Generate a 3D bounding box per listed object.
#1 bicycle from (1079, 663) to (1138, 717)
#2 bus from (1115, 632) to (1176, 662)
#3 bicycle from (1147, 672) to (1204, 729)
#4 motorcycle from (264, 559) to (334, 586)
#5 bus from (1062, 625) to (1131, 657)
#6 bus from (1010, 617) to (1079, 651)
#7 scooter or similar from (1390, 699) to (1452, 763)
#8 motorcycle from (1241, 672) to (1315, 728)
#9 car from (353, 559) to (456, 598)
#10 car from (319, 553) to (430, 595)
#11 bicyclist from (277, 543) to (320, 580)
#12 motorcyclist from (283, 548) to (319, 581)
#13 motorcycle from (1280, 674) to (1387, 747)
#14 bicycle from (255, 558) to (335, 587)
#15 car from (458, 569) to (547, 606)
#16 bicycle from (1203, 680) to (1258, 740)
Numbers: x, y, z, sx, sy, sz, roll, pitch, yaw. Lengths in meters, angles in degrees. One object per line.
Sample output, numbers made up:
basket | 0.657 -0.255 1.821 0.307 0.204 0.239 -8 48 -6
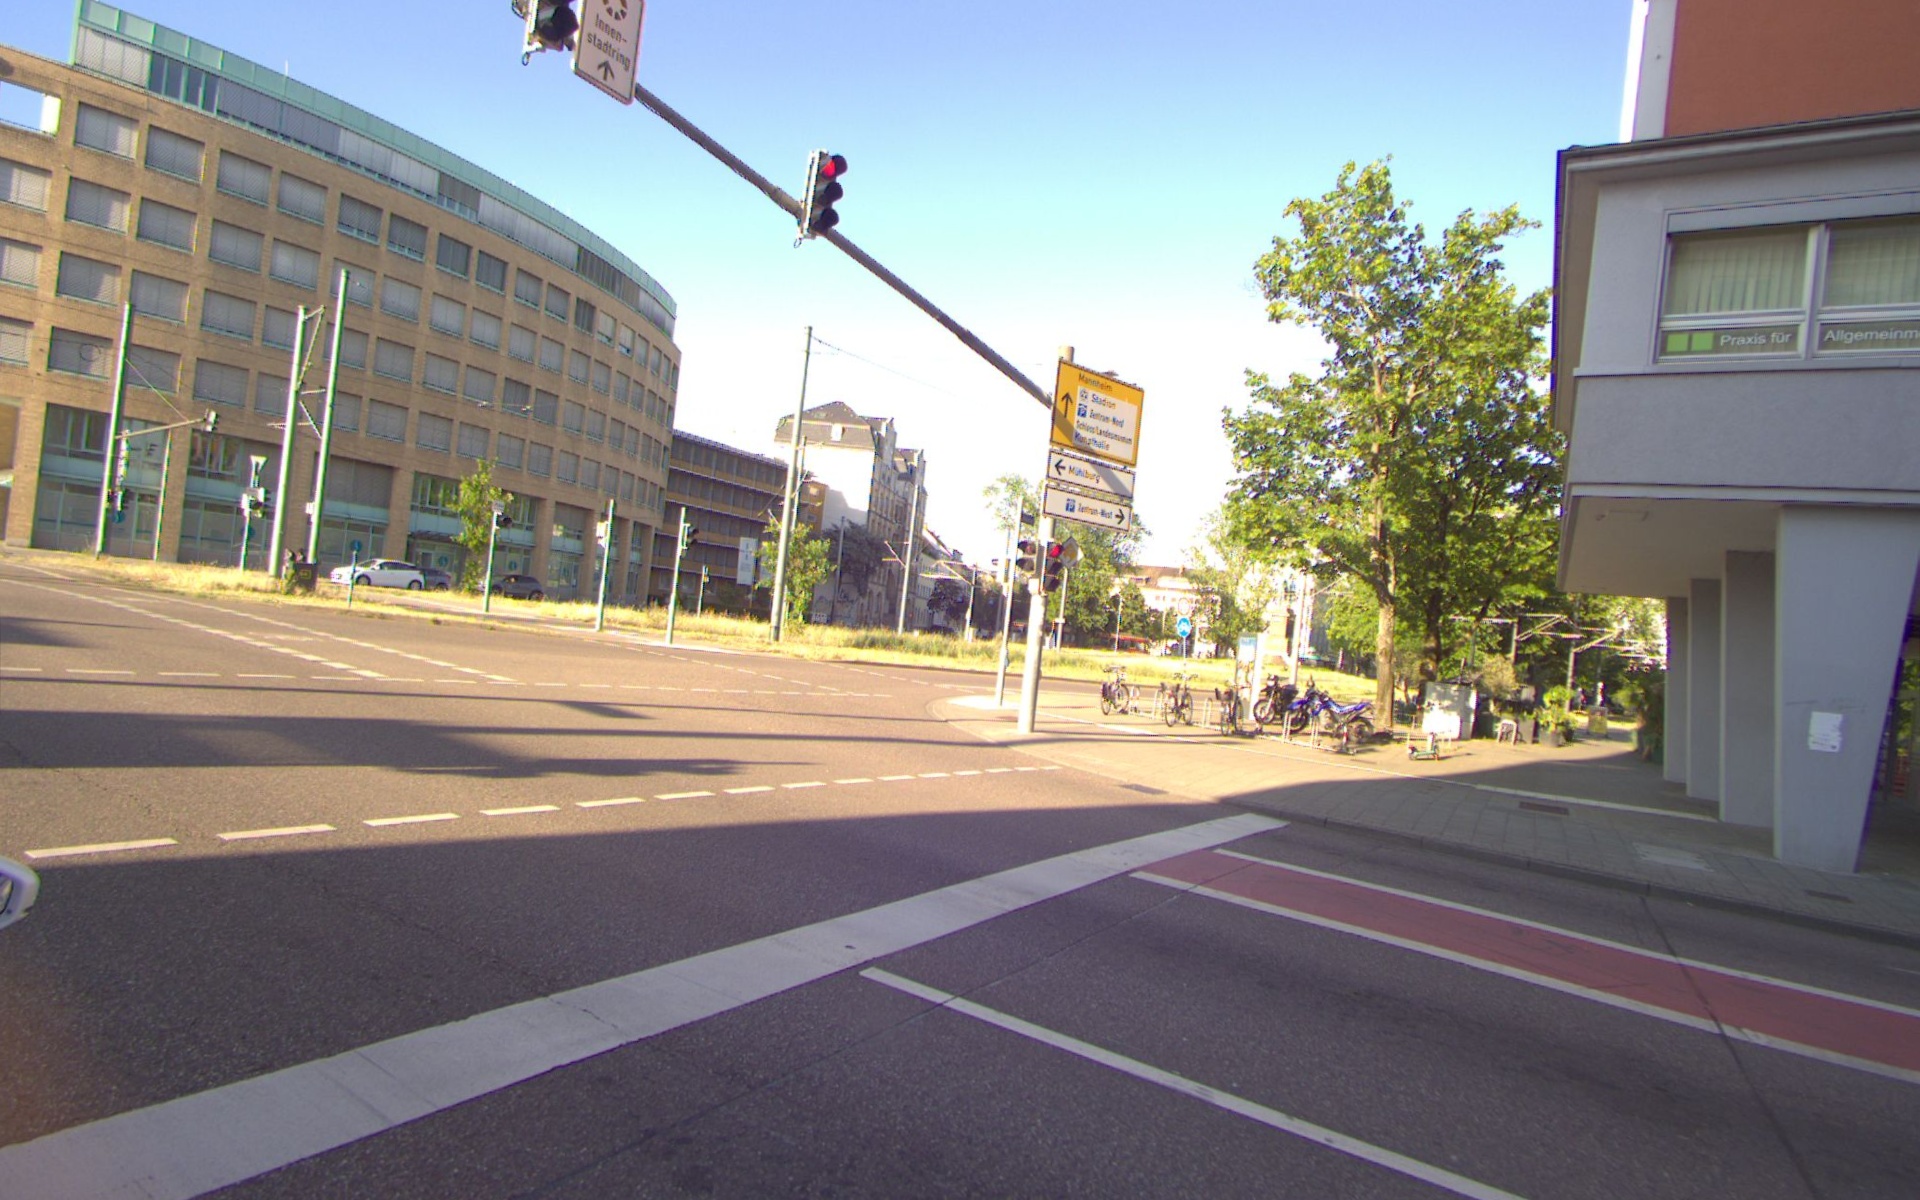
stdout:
bicycle | 3.470 2.072 23.394 0.584 1.129 1.974 7 1 29
bus | 26.192 6.702 141.546 11.011 3.248 2.324 8 -2 -44
bicycle | 4.856 2.234 22.560 0.584 1.128 2.003 7 1 30
motorcycle | -33.183 -1.381 50.571 1.015 0.975 2.722 6 -2 31
bus | 18.232 5.441 134.010 11.006 3.248 2.325 8 -2 -42
bus | 10.724 4.345 126.232 2.377 3.247 11.068 5 -2 41
scooter or similar | 9.819 2.787 21.417 1.549 1.251 0.479 6 0 -40
motorcycle | 8.452 2.661 26.697 2.044 1.324 0.880 7 -1 -44
car | -30.412 -1.146 55.215 1.954 1.555 4.488 5 -2 32
car | -28.380 -1.232 48.911 1.961 1.509 4.171 5 -2 30
bicyclist | -31.714 -1.842 48.225 1.135 1.590 1.225 6 -1 30
motorcyclist | -33.133 -1.782 50.586 1.015 1.452 1.067 6 -1 31
motorcycle | 8.841 2.610 23.893 2.224 1.408 0.845 6 -2 20
bicycle | -31.807 -1.283 48.188 1.135 1.012 2.966 6 -2 30
car | -24.889 -0.643 54.853 1.790 1.509 4.059 5 -2 31
bicycle | 5.924 2.360 21.933 0.584 1.128 2.058 7 1 28
